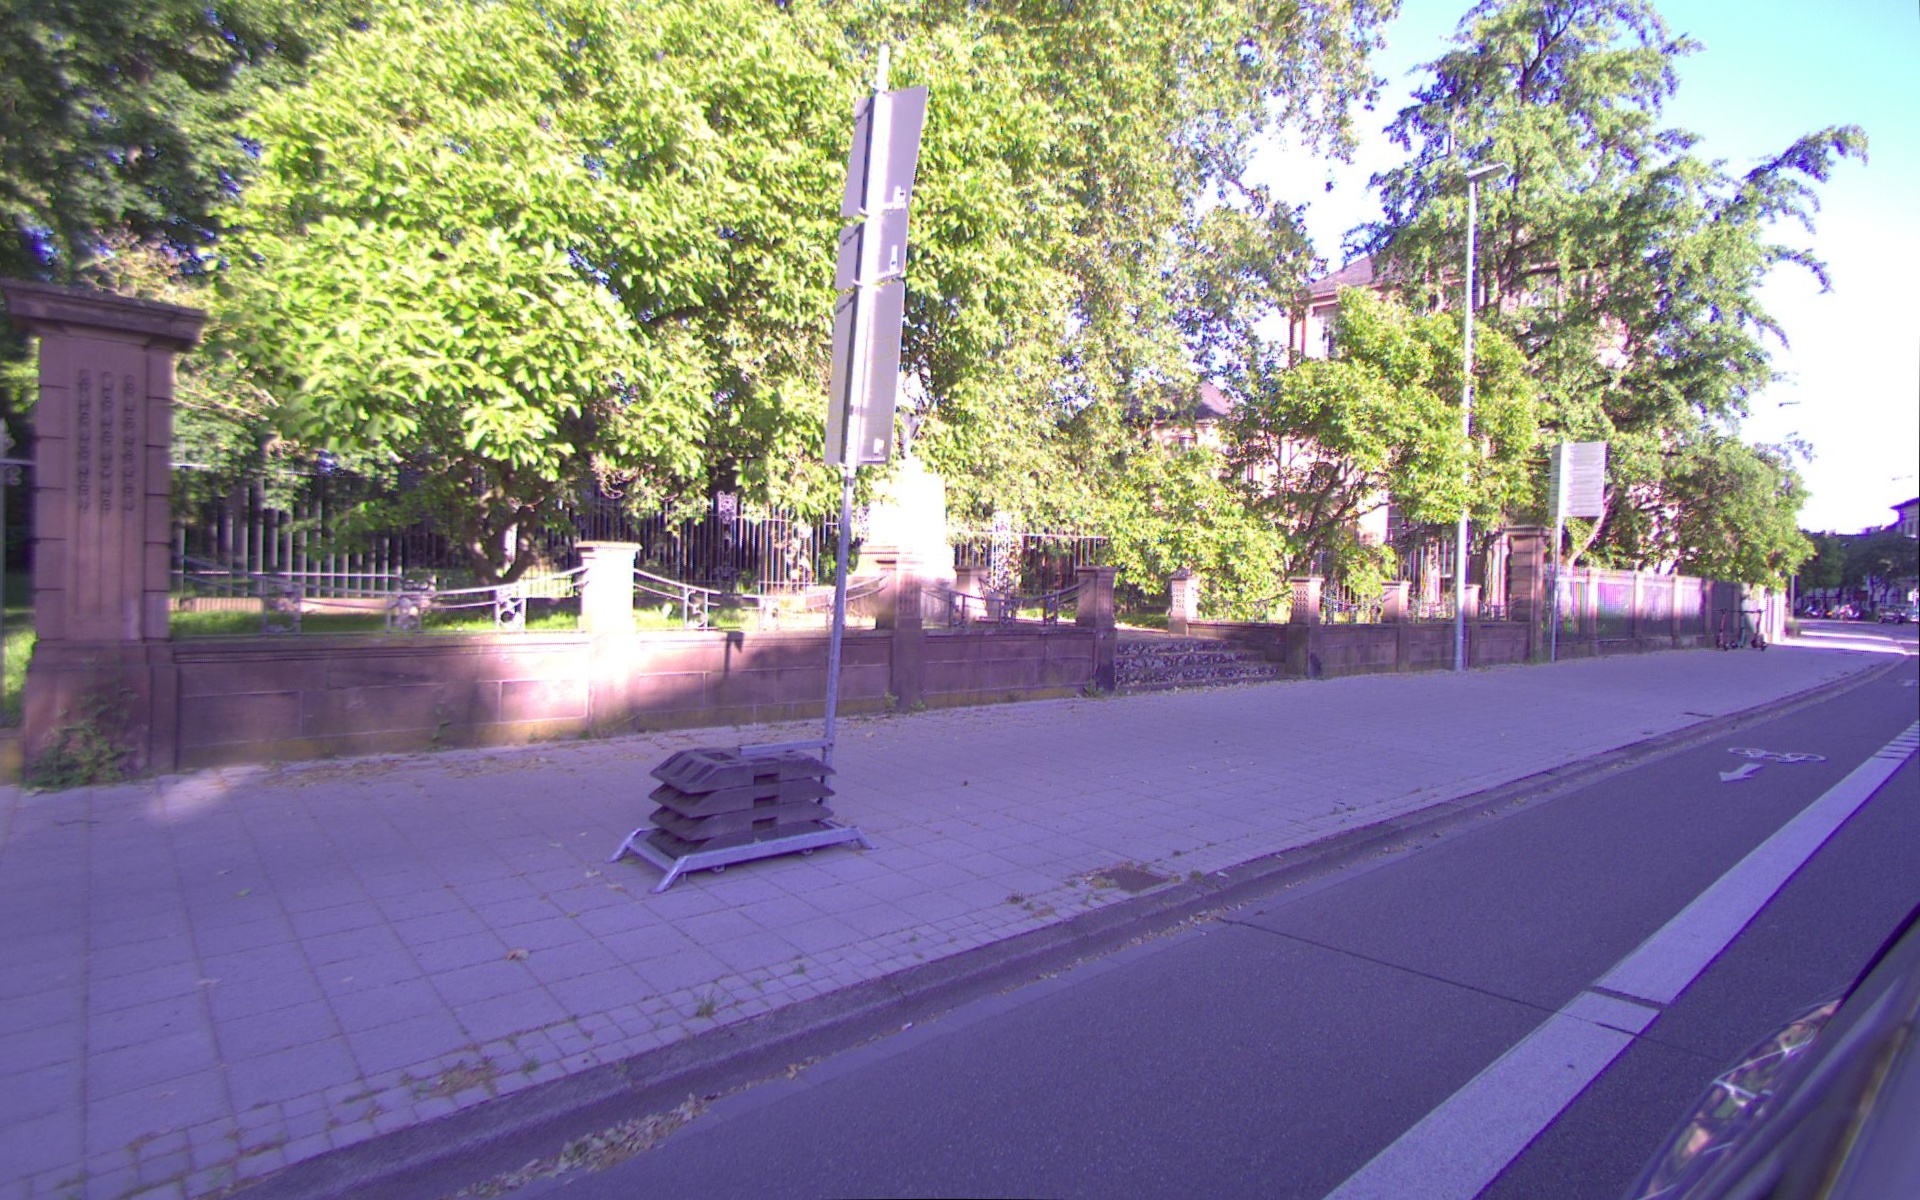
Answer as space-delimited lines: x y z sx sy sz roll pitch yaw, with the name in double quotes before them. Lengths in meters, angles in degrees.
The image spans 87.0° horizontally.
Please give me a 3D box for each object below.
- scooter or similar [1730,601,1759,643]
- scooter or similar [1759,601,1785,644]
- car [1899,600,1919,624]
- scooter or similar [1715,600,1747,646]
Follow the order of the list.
"scooter or similar" 23.532 0.656 30.357 0.574 1.199 1.465 3 2 41
"scooter or similar" 24.632 0.667 30.706 0.514 1.255 1.502 2 2 37
"car" 92.133 1.196 96.071 1.966 2.131 4.509 2 1 6
"scooter or similar" 22.185 0.638 29.133 0.572 1.269 1.470 2 1 33
